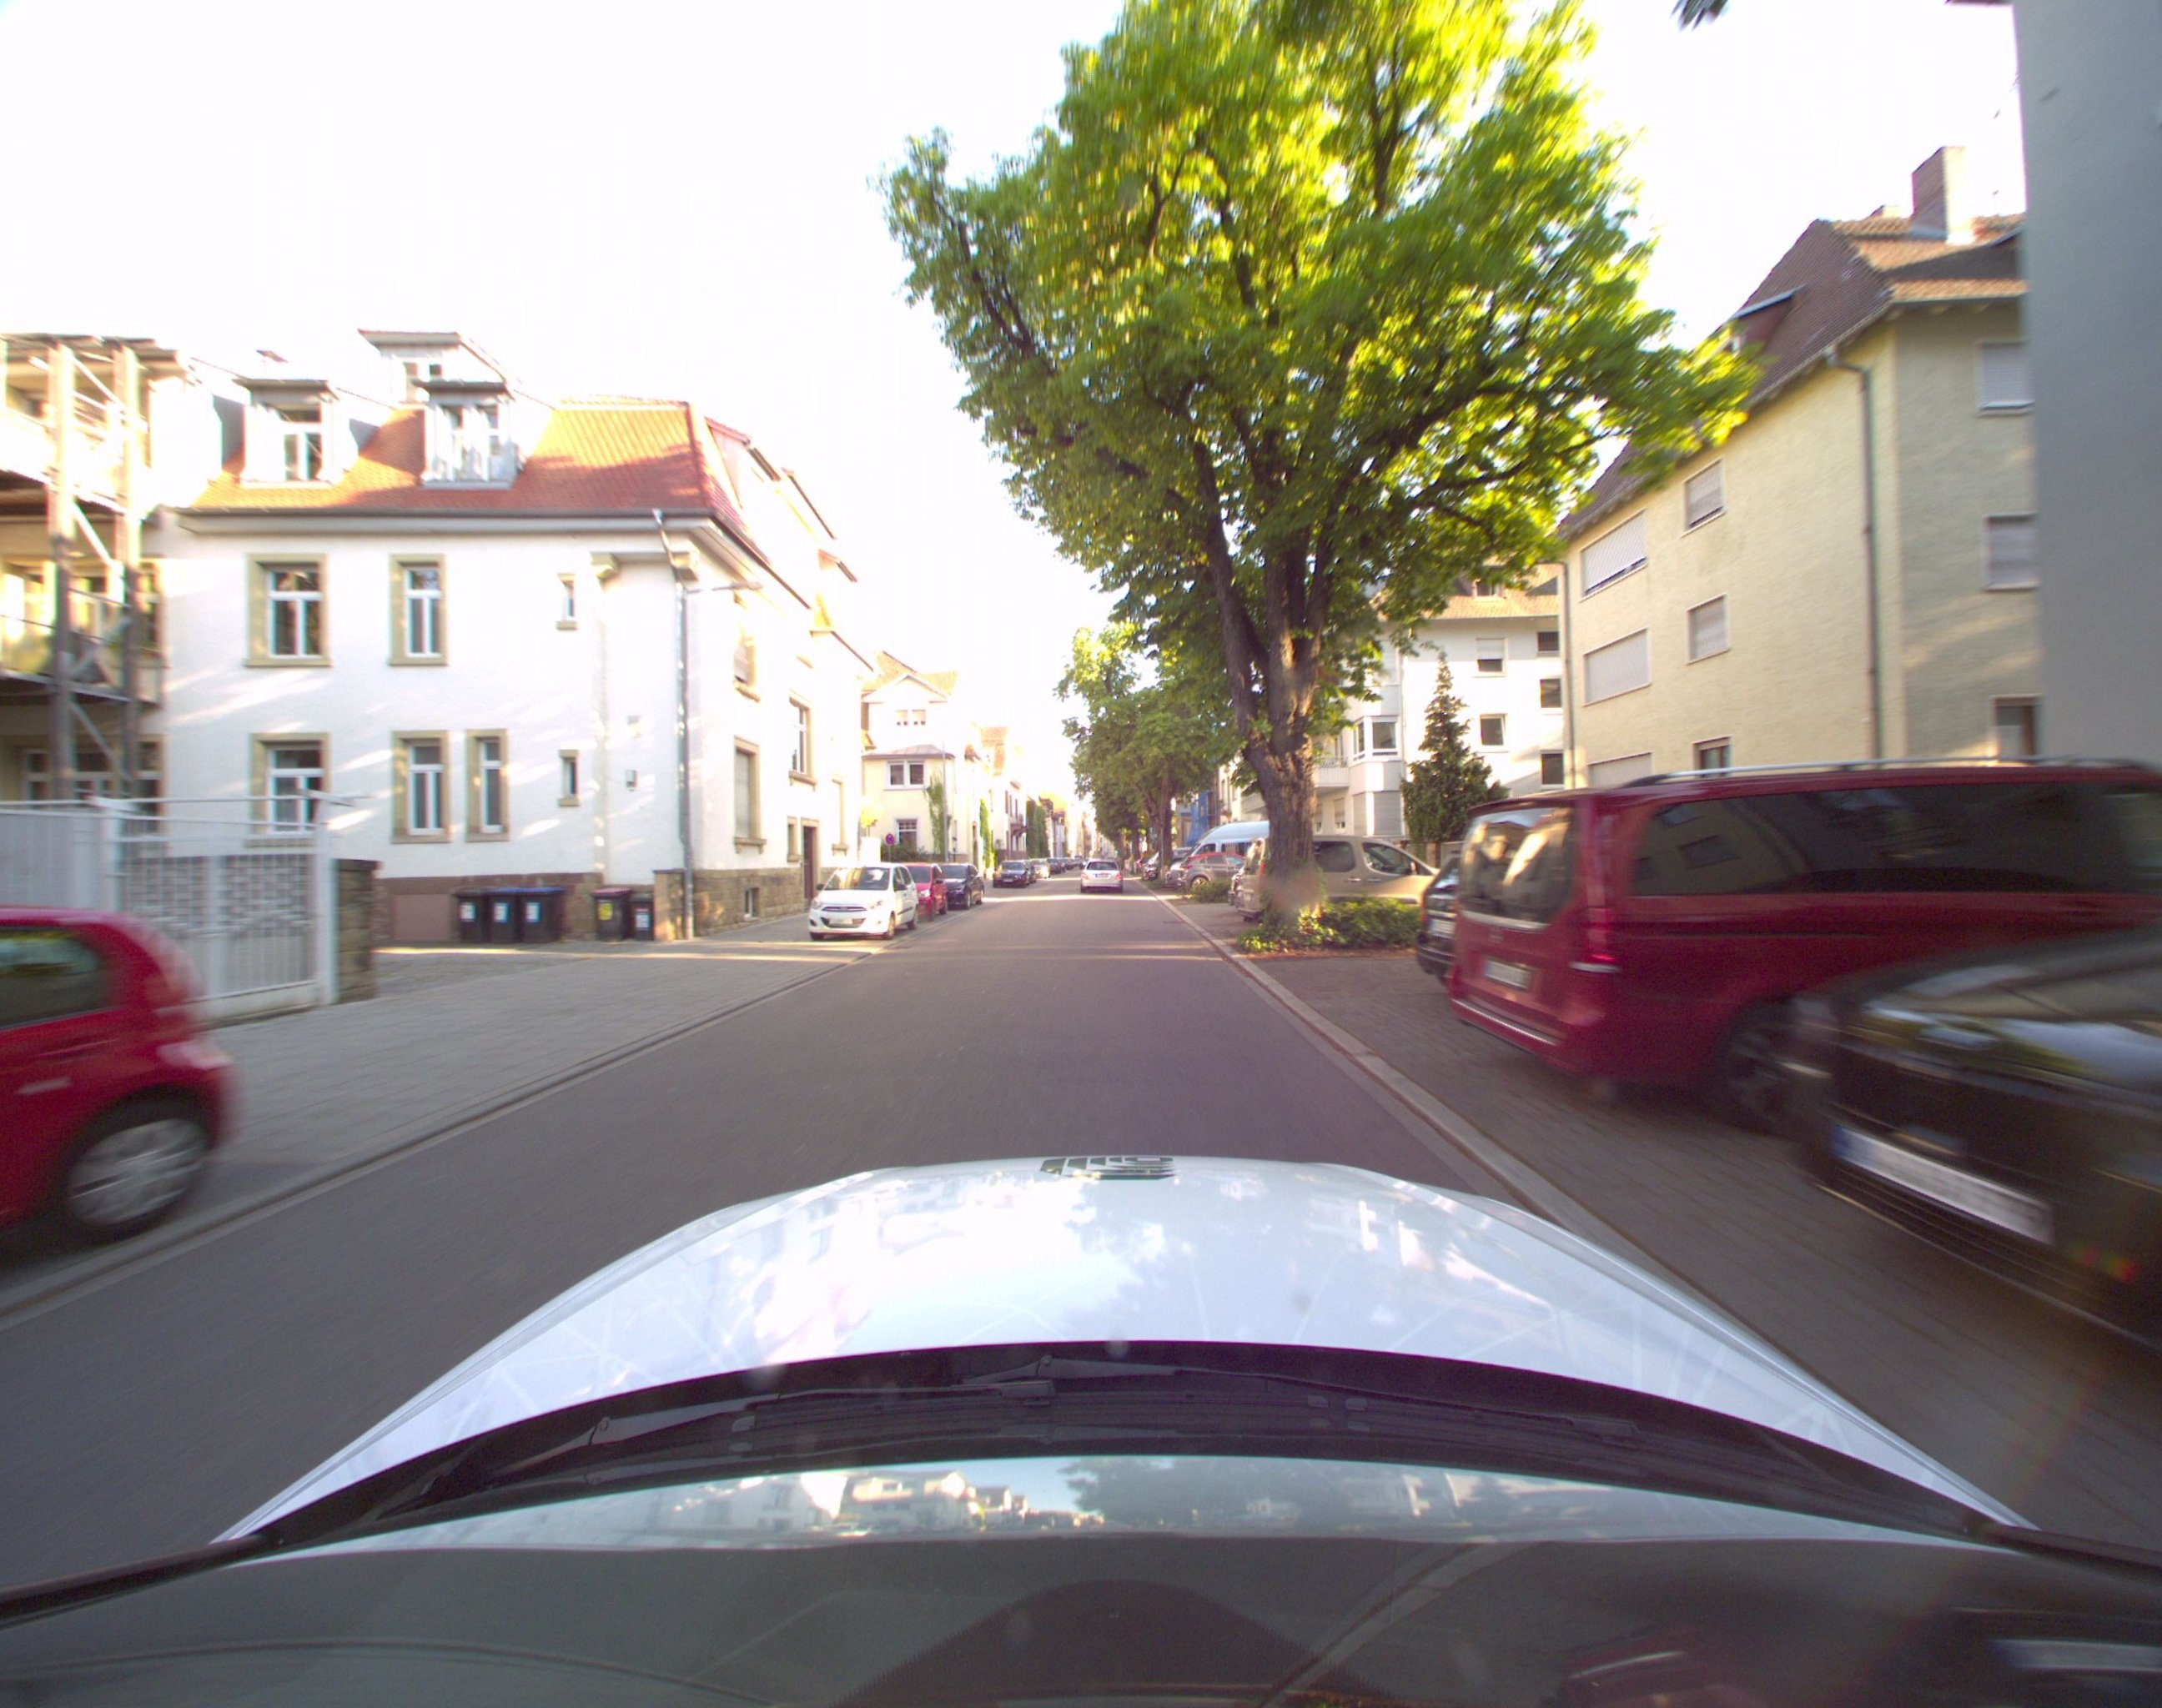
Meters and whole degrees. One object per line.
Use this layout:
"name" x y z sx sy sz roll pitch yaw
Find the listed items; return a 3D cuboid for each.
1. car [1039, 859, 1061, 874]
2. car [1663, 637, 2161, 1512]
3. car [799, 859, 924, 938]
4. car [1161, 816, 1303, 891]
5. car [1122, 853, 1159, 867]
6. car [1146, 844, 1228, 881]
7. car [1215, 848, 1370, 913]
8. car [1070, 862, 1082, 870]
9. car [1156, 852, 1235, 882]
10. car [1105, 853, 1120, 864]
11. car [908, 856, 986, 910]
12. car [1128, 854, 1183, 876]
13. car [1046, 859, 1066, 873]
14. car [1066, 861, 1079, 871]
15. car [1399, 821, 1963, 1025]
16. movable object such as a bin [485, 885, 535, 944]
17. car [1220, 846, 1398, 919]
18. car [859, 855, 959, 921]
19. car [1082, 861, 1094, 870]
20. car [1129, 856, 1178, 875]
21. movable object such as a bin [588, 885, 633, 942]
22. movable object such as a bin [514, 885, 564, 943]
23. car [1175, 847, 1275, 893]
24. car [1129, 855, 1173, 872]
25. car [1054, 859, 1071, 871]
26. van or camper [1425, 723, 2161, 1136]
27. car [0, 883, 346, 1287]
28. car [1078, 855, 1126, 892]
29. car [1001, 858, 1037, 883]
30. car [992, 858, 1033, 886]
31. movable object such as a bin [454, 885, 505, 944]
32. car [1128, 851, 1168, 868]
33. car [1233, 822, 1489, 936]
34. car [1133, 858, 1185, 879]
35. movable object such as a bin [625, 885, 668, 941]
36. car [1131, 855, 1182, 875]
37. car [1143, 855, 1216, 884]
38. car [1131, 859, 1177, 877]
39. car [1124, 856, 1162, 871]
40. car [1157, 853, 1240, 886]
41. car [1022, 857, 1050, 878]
"car" -2.820 1.137 74.611 1.792 1.387 3.607 0 0 2
"car" 4.590 0.459 2.214 4.609 1.836 1.954 0 -1 1
"car" -4.536 0.878 17.398 1.654 1.499 3.753 0 -1 0
"car" 6.297 -0.038 34.585 5.525 2.968 2.471 -1 0 -1
"car" 6.308 0.633 86.471 3.829 1.482 1.806 -1 0 2
"car" 6.134 0.494 47.714 4.504 2.013 2.251 -1 0 0
"car" 5.390 0.659 21.073 3.583 1.542 1.649 -1 0 -1
"car" -0.852 1.957 134.937 1.792 1.387 3.607 0 0 2
"car" 5.829 0.652 41.862 3.829 1.482 1.806 -1 0 2
"car" 4.323 0.608 111.211 1.808 1.473 4.221 -1 -1 4
"car" -4.279 0.883 26.597 1.792 1.644 3.858 0 0 2
"car" 5.332 0.789 58.656 3.829 1.482 1.806 -1 0 2
"car" -2.552 1.270 84.532 1.792 1.387 3.607 0 0 2
"car" -1.281 1.814 125.583 1.792 1.387 3.607 0 0 2
"car" 5.117 0.572 7.430 3.763 1.588 1.795 -1 0 4
"movable object such as a bin" -11.065 1.158 15.792 0.525 1.107 0.590 0 -2 1
"car" 5.126 0.625 18.628 3.583 1.542 1.649 -1 0 -1
"car" -4.588 0.897 22.293 1.792 1.644 3.858 0 -2 2
"car" 1.169 1.848 130.563 1.792 1.387 3.607 0 0 2
"car" 5.852 0.928 65.889 3.829 1.482 1.806 -1 0 2
"movable object such as a bin" -9.384 1.185 16.260 0.525 1.107 0.590 0 -2 1
"movable object such as a bin" -10.500 1.154 15.789 0.525 1.107 0.590 0 -2 1
"car" 5.538 0.605 31.562 3.583 1.660 1.649 -1 0 -1
"car" 6.147 0.824 71.630 3.829 1.482 1.806 -1 0 2
"car" -2.206 1.245 96.005 1.792 1.387 3.607 0 0 2
"van or camper" 4.661 0.374 5.012 4.293 2.014 2.002 0 -1 4
"car" -4.914 0.879 2.575 1.653 1.488 3.755 0 -1 2
"car" 0.954 0.818 34.885 1.808 1.473 4.221 -1 -1 4
"car" -3.791 0.983 50.276 1.792 1.482 3.858 0 0 2
"car" -3.720 0.964 44.920 1.792 1.482 3.858 0 0 2
"movable object such as a bin" -11.660 1.161 15.806 0.525 1.107 0.590 0 -2 1
"car" 6.484 0.526 78.823 3.829 1.482 1.806 -1 0 2
"car" 5.080 0.442 15.188 4.116 1.921 1.891 -1 0 -1
"car" 5.858 1.110 61.441 3.829 1.482 1.806 -1 0 2
"movable object such as a bin" -8.773 1.180 16.444 0.525 1.107 0.590 0 -2 1
"car" 5.884 0.842 63.639 3.829 1.482 1.806 -1 0 2
"car" 5.287 0.825 44.119 3.829 1.482 1.806 -1 0 2
"car" 6.209 1.162 69.245 3.829 1.482 1.806 -1 0 2
"car" 6.297 0.945 83.160 3.829 1.482 1.806 -1 0 2
"car" 5.641 0.749 39.436 3.829 1.482 1.806 -1 0 2
"car" -3.318 1.000 60.594 1.792 1.482 3.858 0 0 2
